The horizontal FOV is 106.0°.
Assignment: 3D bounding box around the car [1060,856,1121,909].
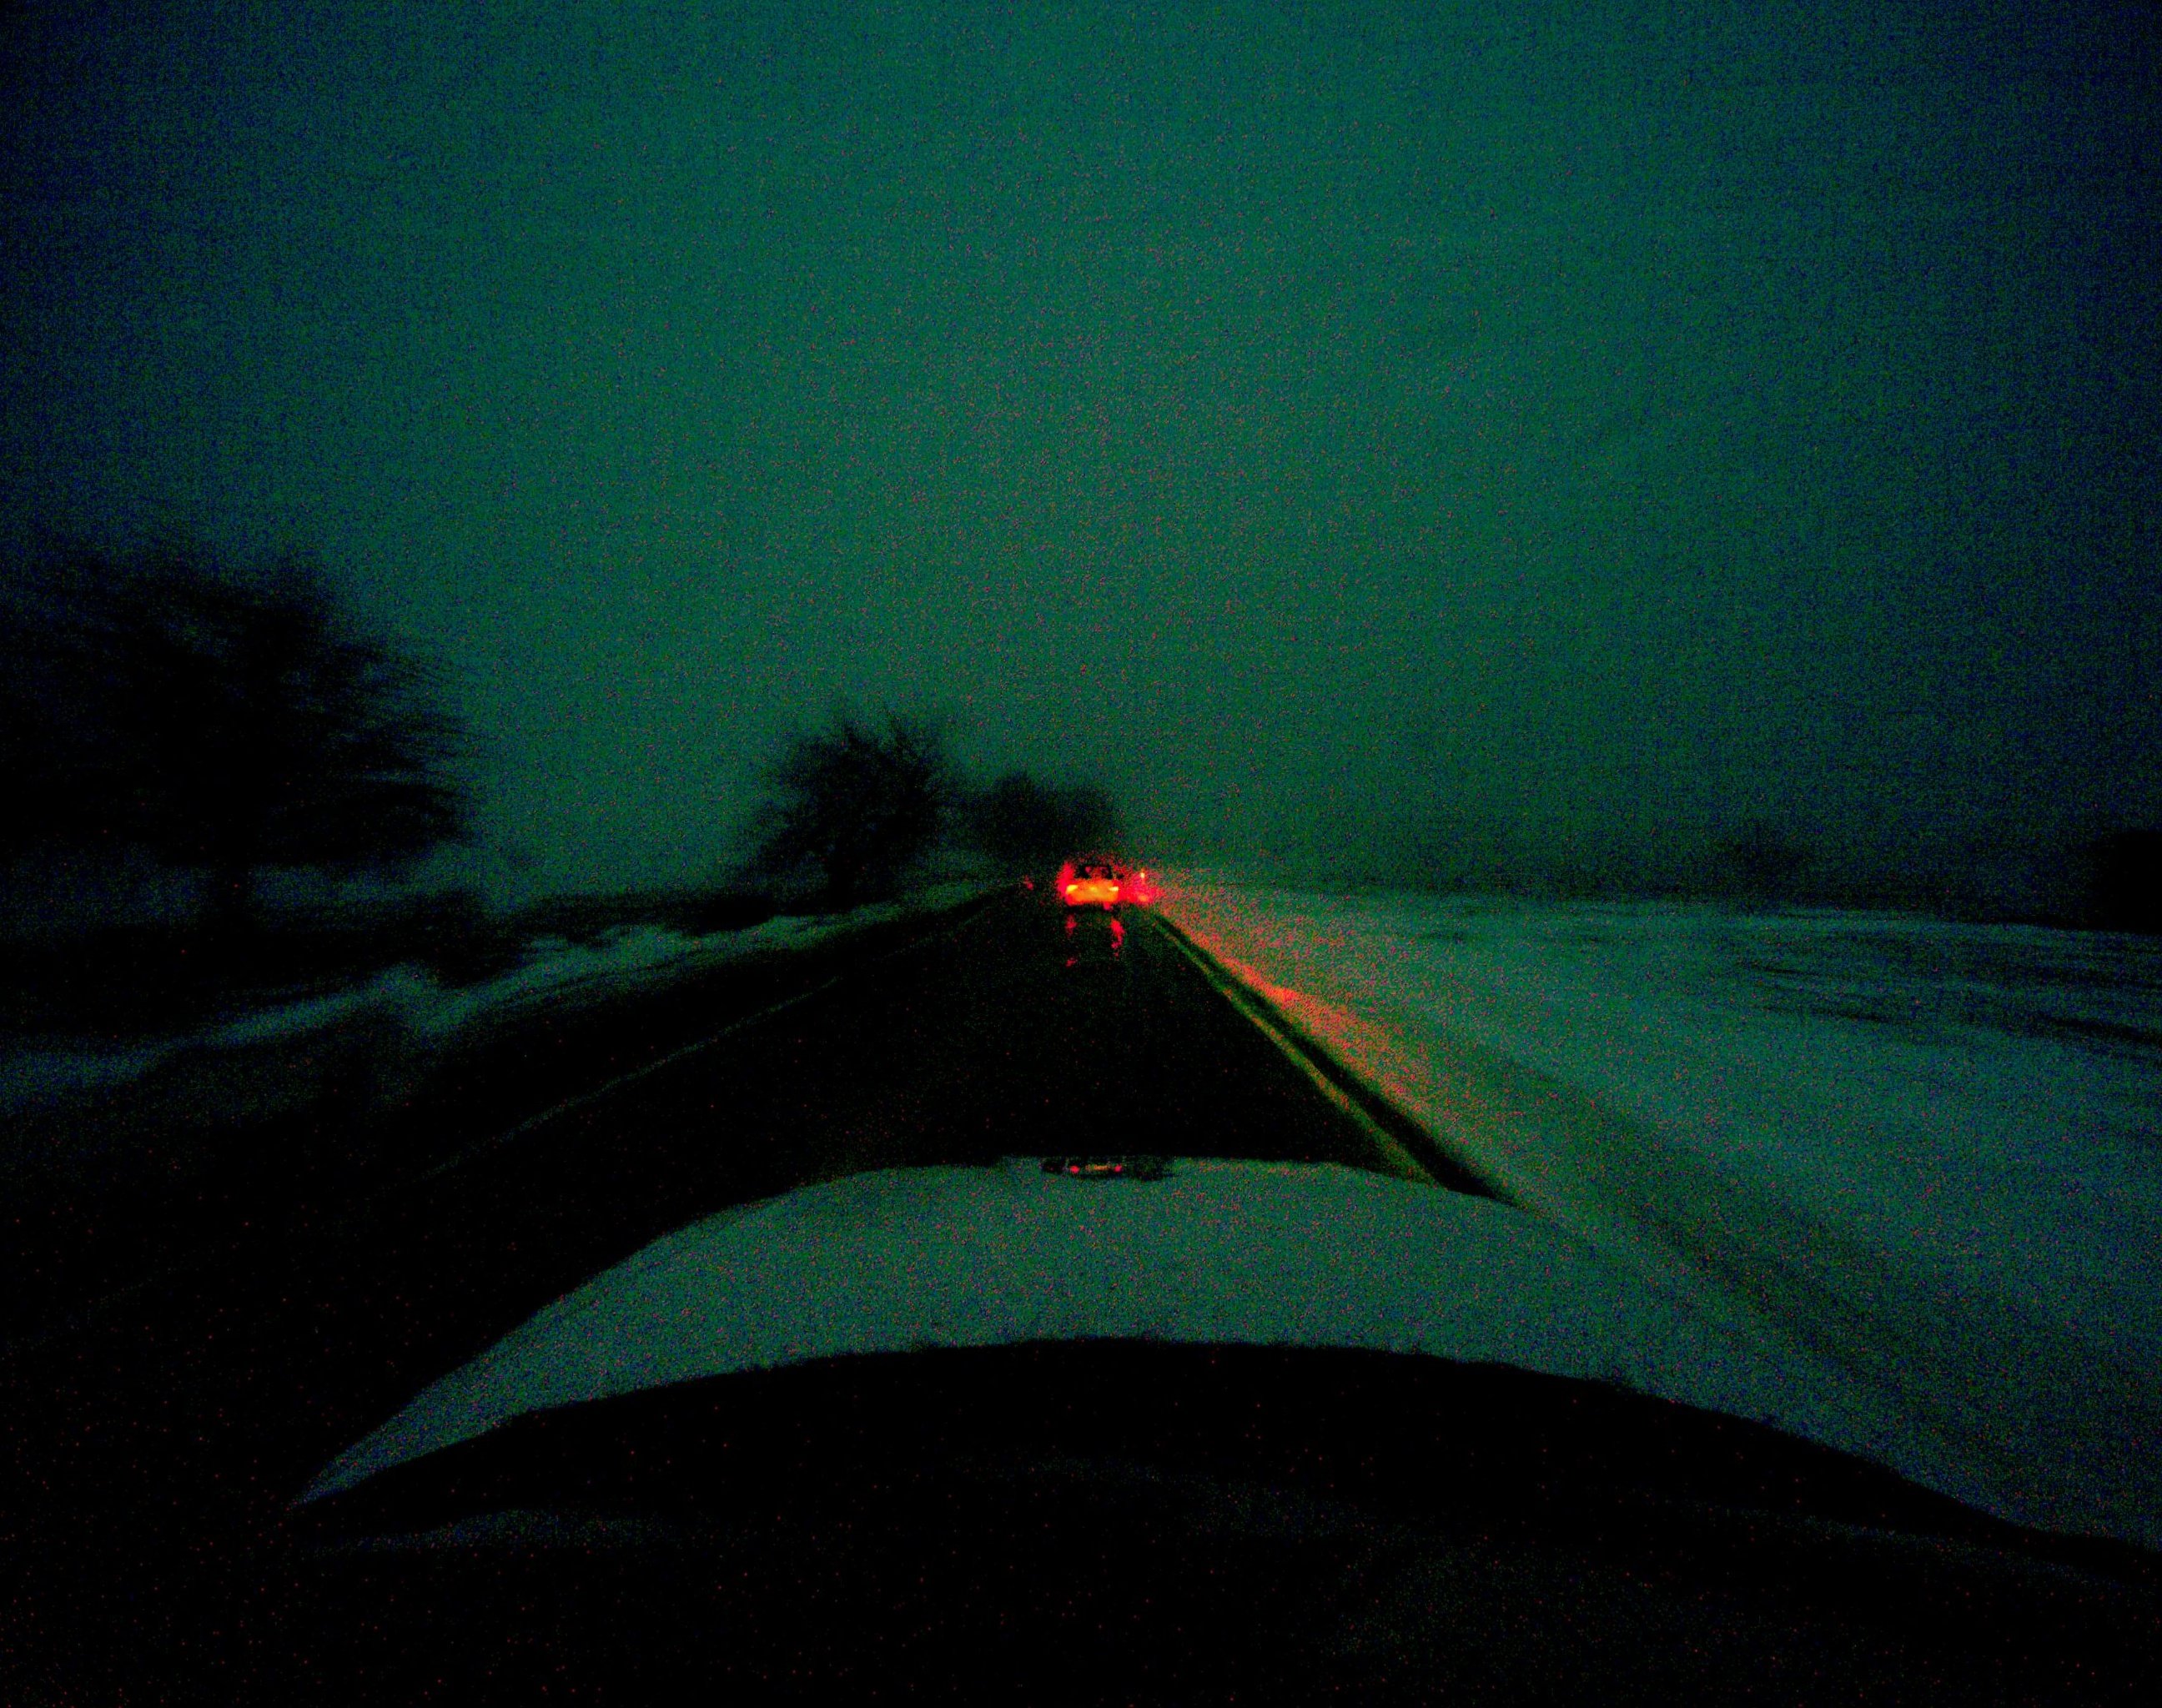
[{"bbox_3d":[0.376,0.814,24.932,1.700,1.463,4.003,1,0,3],"label":"car"}]
